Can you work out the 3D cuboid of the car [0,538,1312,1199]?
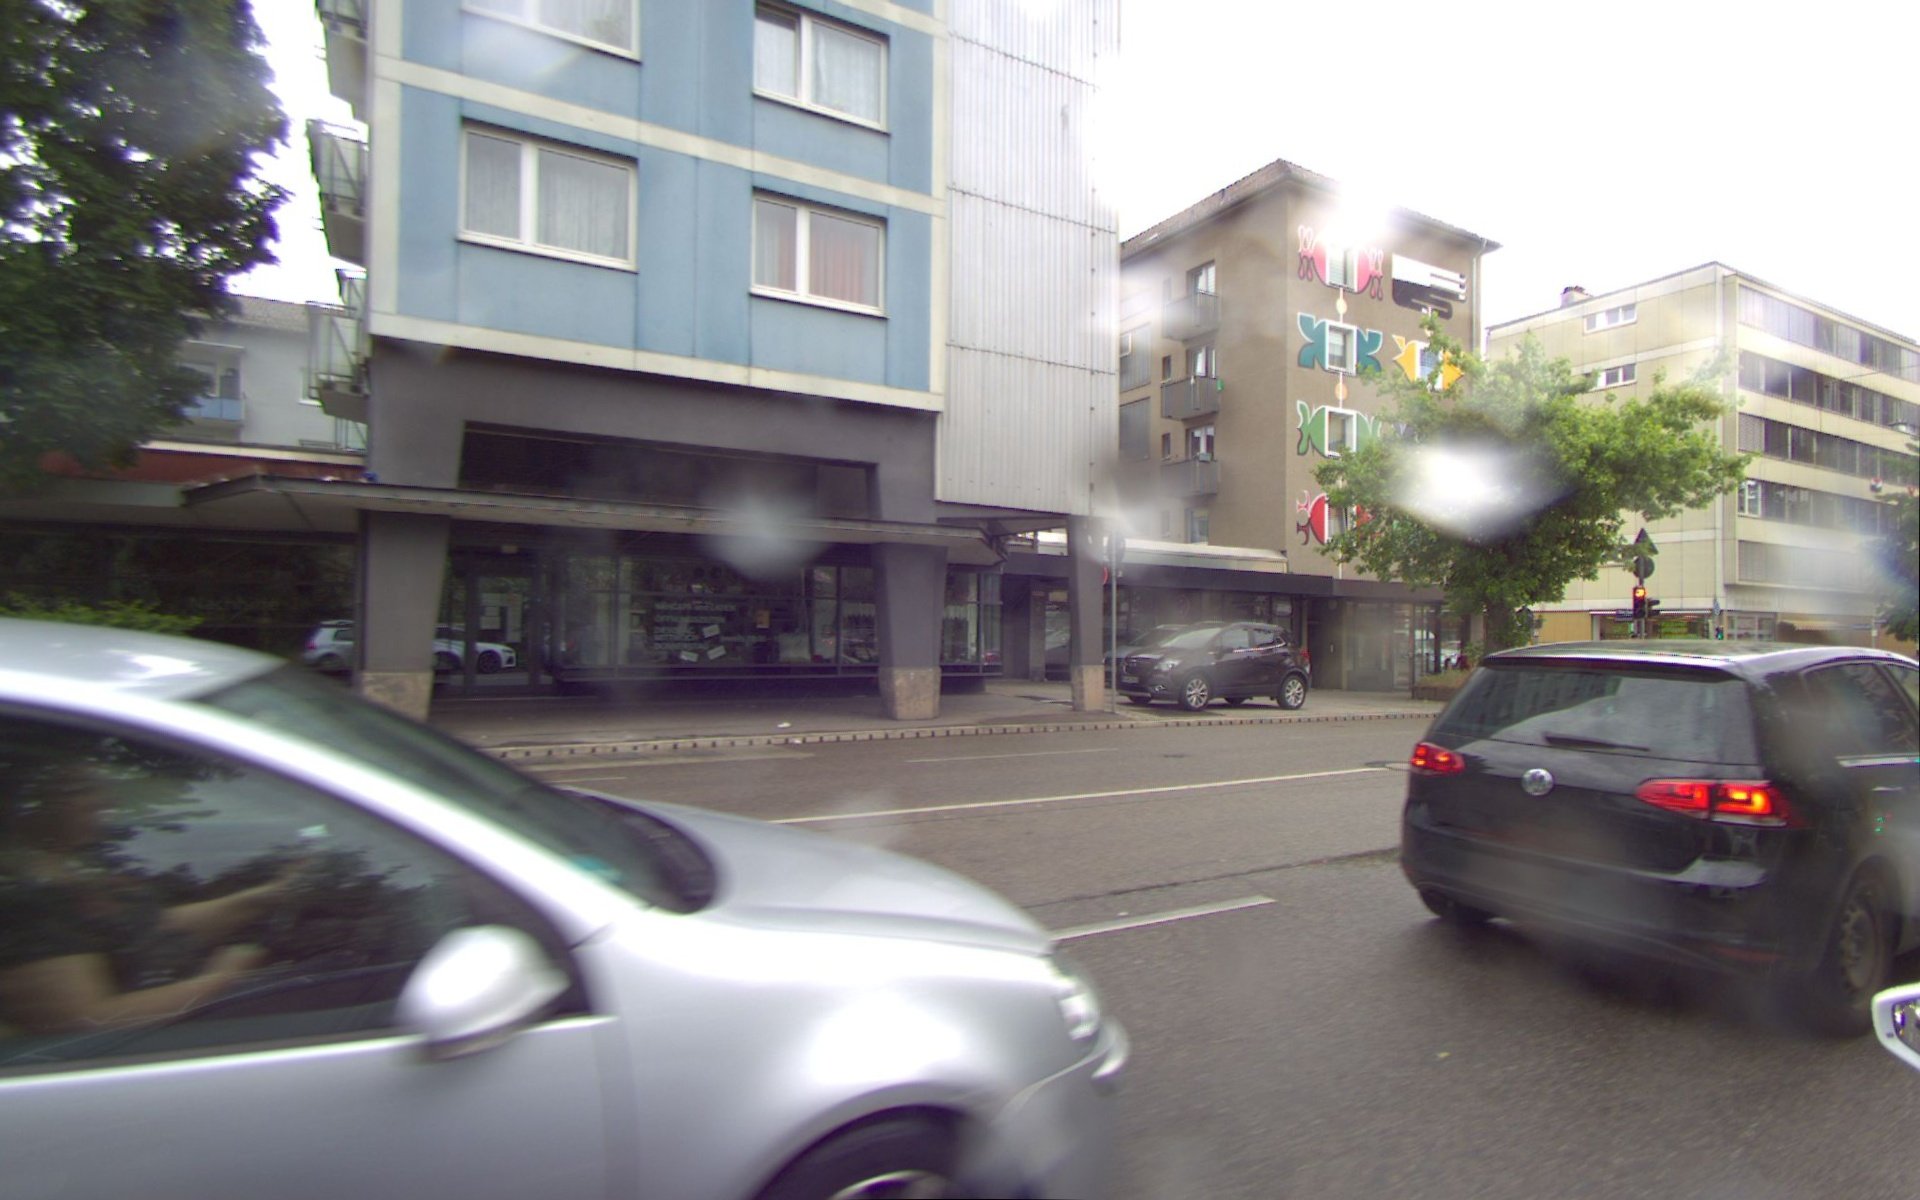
[{"bbox_3d":[-1.446,0.711,1.819,4.114,1.506,1.735,2,-2,-31],"label":"car"}]

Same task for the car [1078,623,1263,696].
[{"bbox_3d":[5.385,1.489,25.542,4.460,1.676,1.983,2,-2,-31],"label":"car"}]

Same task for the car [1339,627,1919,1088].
[{"bbox_3d":[3.921,0.899,5.006,3.954,1.472,1.747,2,-2,-31],"label":"car"}]

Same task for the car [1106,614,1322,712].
[{"bbox_3d":[5.016,1.197,19.666,4.237,1.728,1.532,2,-1,-30],"label":"car"}]

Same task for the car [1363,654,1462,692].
[{"bbox_3d":[24.249,3.915,53.980,2.013,1.944,4.409,2,-5,-34],"label":"car"}]

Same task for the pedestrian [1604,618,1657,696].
[{"bbox_3d":[18.024,1.538,27.018,0.879,2.040,0.933,3,-4,-39],"label":"pedestrian"}]
